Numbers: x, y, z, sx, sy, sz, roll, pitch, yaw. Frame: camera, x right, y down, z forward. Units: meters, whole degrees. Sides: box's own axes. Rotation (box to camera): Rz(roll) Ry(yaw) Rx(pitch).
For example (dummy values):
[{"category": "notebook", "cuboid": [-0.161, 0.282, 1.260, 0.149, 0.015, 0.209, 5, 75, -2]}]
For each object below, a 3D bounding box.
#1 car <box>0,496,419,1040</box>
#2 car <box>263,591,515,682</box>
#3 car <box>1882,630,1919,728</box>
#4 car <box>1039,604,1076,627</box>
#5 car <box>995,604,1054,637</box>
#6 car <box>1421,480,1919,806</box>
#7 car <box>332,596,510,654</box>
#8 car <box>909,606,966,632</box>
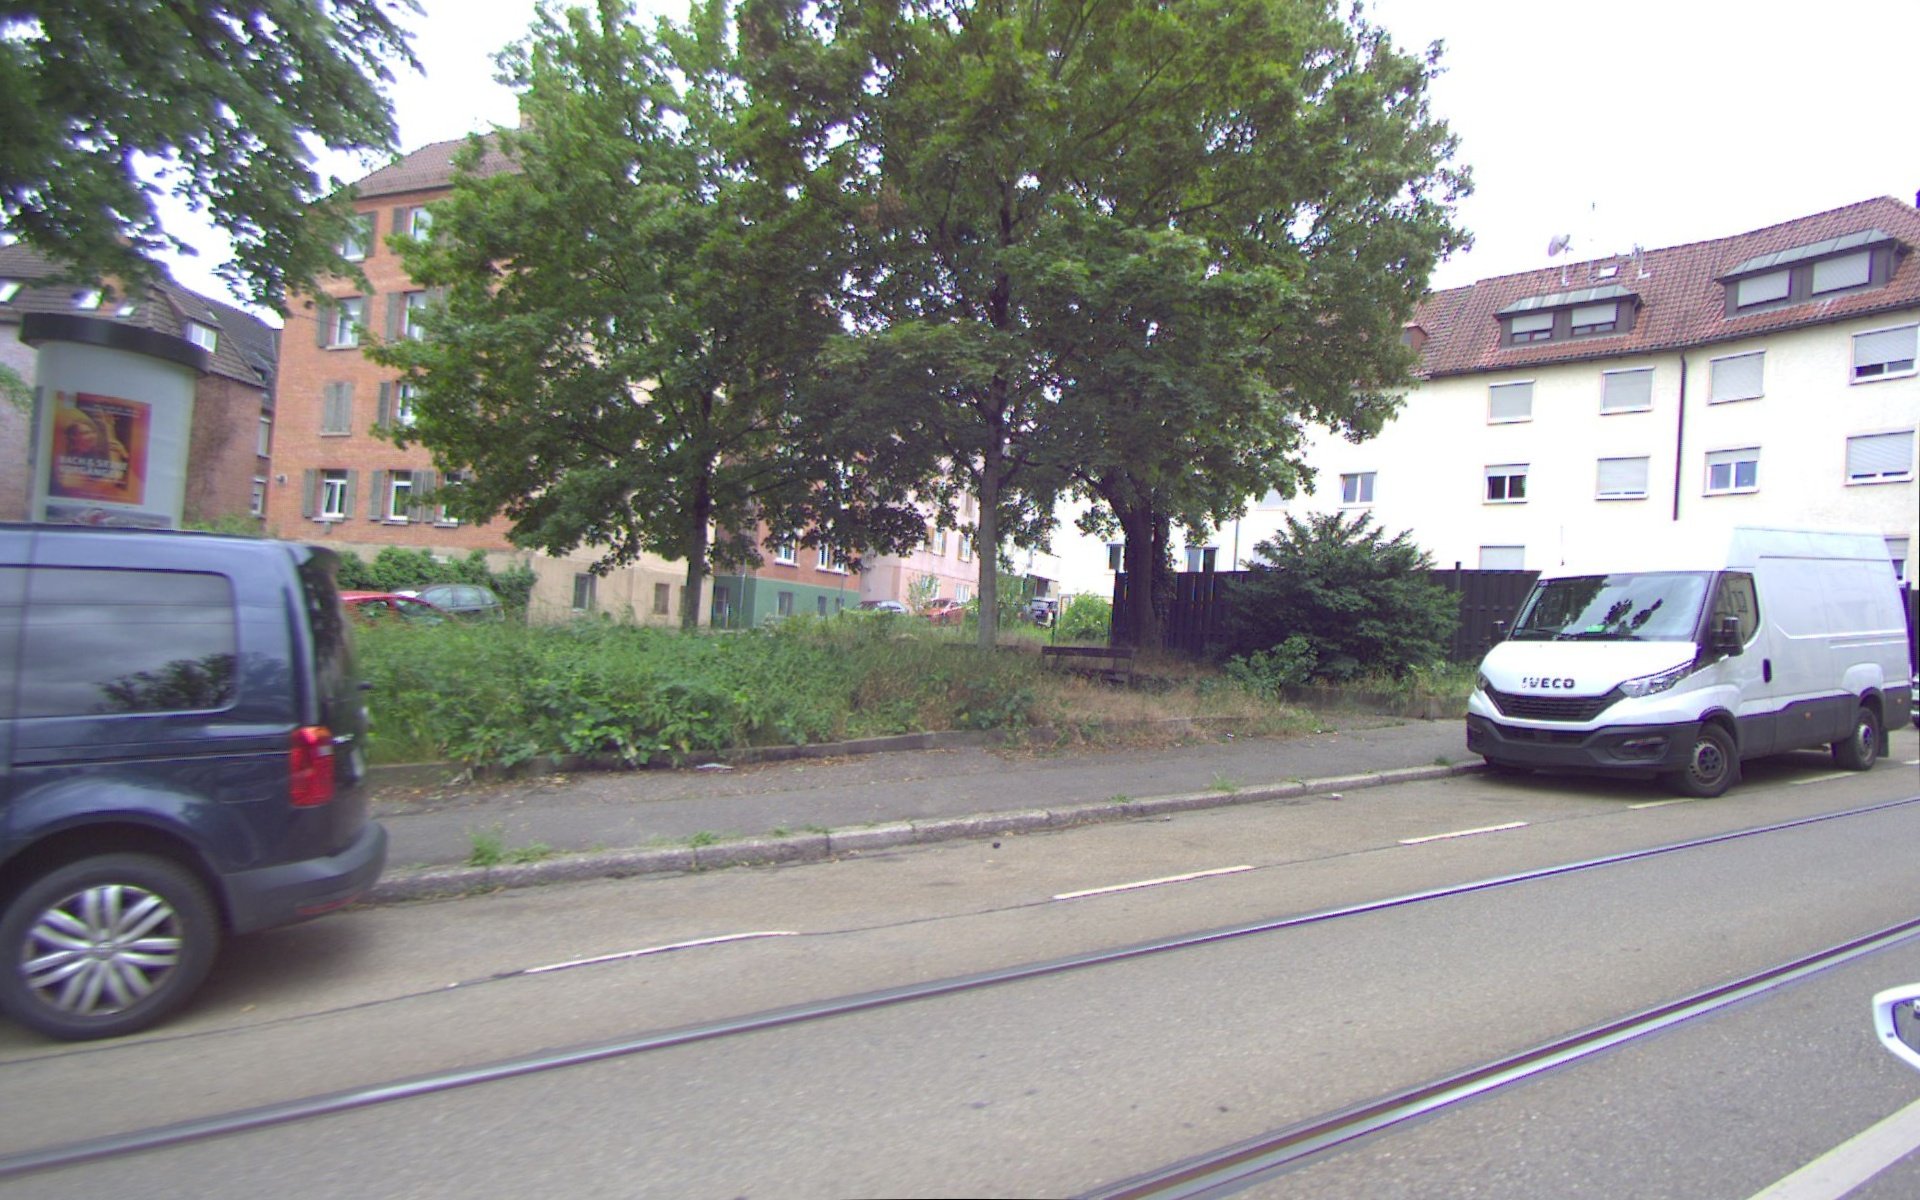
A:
[{"category": "car", "cuboid": [-4.580, 0.571, 3.579, 4.610, 1.798, 1.755, 1, -3, -28]}, {"category": "car", "cuboid": [-10.305, 0.603, 18.401, 1.622, 1.434, 3.726, 2, 1, 27]}, {"category": "car", "cuboid": [16.049, 1.159, 15.301, 4.262, 1.421, 1.711, 1, -3, -30]}, {"category": "car", "cuboid": [6.949, 1.129, 71.338, 1.429, 1.498, 3.780, 2, -2, 23]}, {"category": "car", "cuboid": [3.167, 0.963, 48.822, 1.644, 1.434, 3.728, 2, 1, 24]}, {"category": "car", "cuboid": [7.776, 0.433, 10.675, 6.148, 2.641, 2.148, 1, -3, -31]}, {"category": "car", "cuboid": [-13.145, 0.572, 24.749, 1.429, 1.252, 3.778, 2, 1, 24]}, {"category": "car", "cuboid": [-1.123, 0.972, 52.137, 1.429, 1.252, 3.778, 2, 1, 24]}]
